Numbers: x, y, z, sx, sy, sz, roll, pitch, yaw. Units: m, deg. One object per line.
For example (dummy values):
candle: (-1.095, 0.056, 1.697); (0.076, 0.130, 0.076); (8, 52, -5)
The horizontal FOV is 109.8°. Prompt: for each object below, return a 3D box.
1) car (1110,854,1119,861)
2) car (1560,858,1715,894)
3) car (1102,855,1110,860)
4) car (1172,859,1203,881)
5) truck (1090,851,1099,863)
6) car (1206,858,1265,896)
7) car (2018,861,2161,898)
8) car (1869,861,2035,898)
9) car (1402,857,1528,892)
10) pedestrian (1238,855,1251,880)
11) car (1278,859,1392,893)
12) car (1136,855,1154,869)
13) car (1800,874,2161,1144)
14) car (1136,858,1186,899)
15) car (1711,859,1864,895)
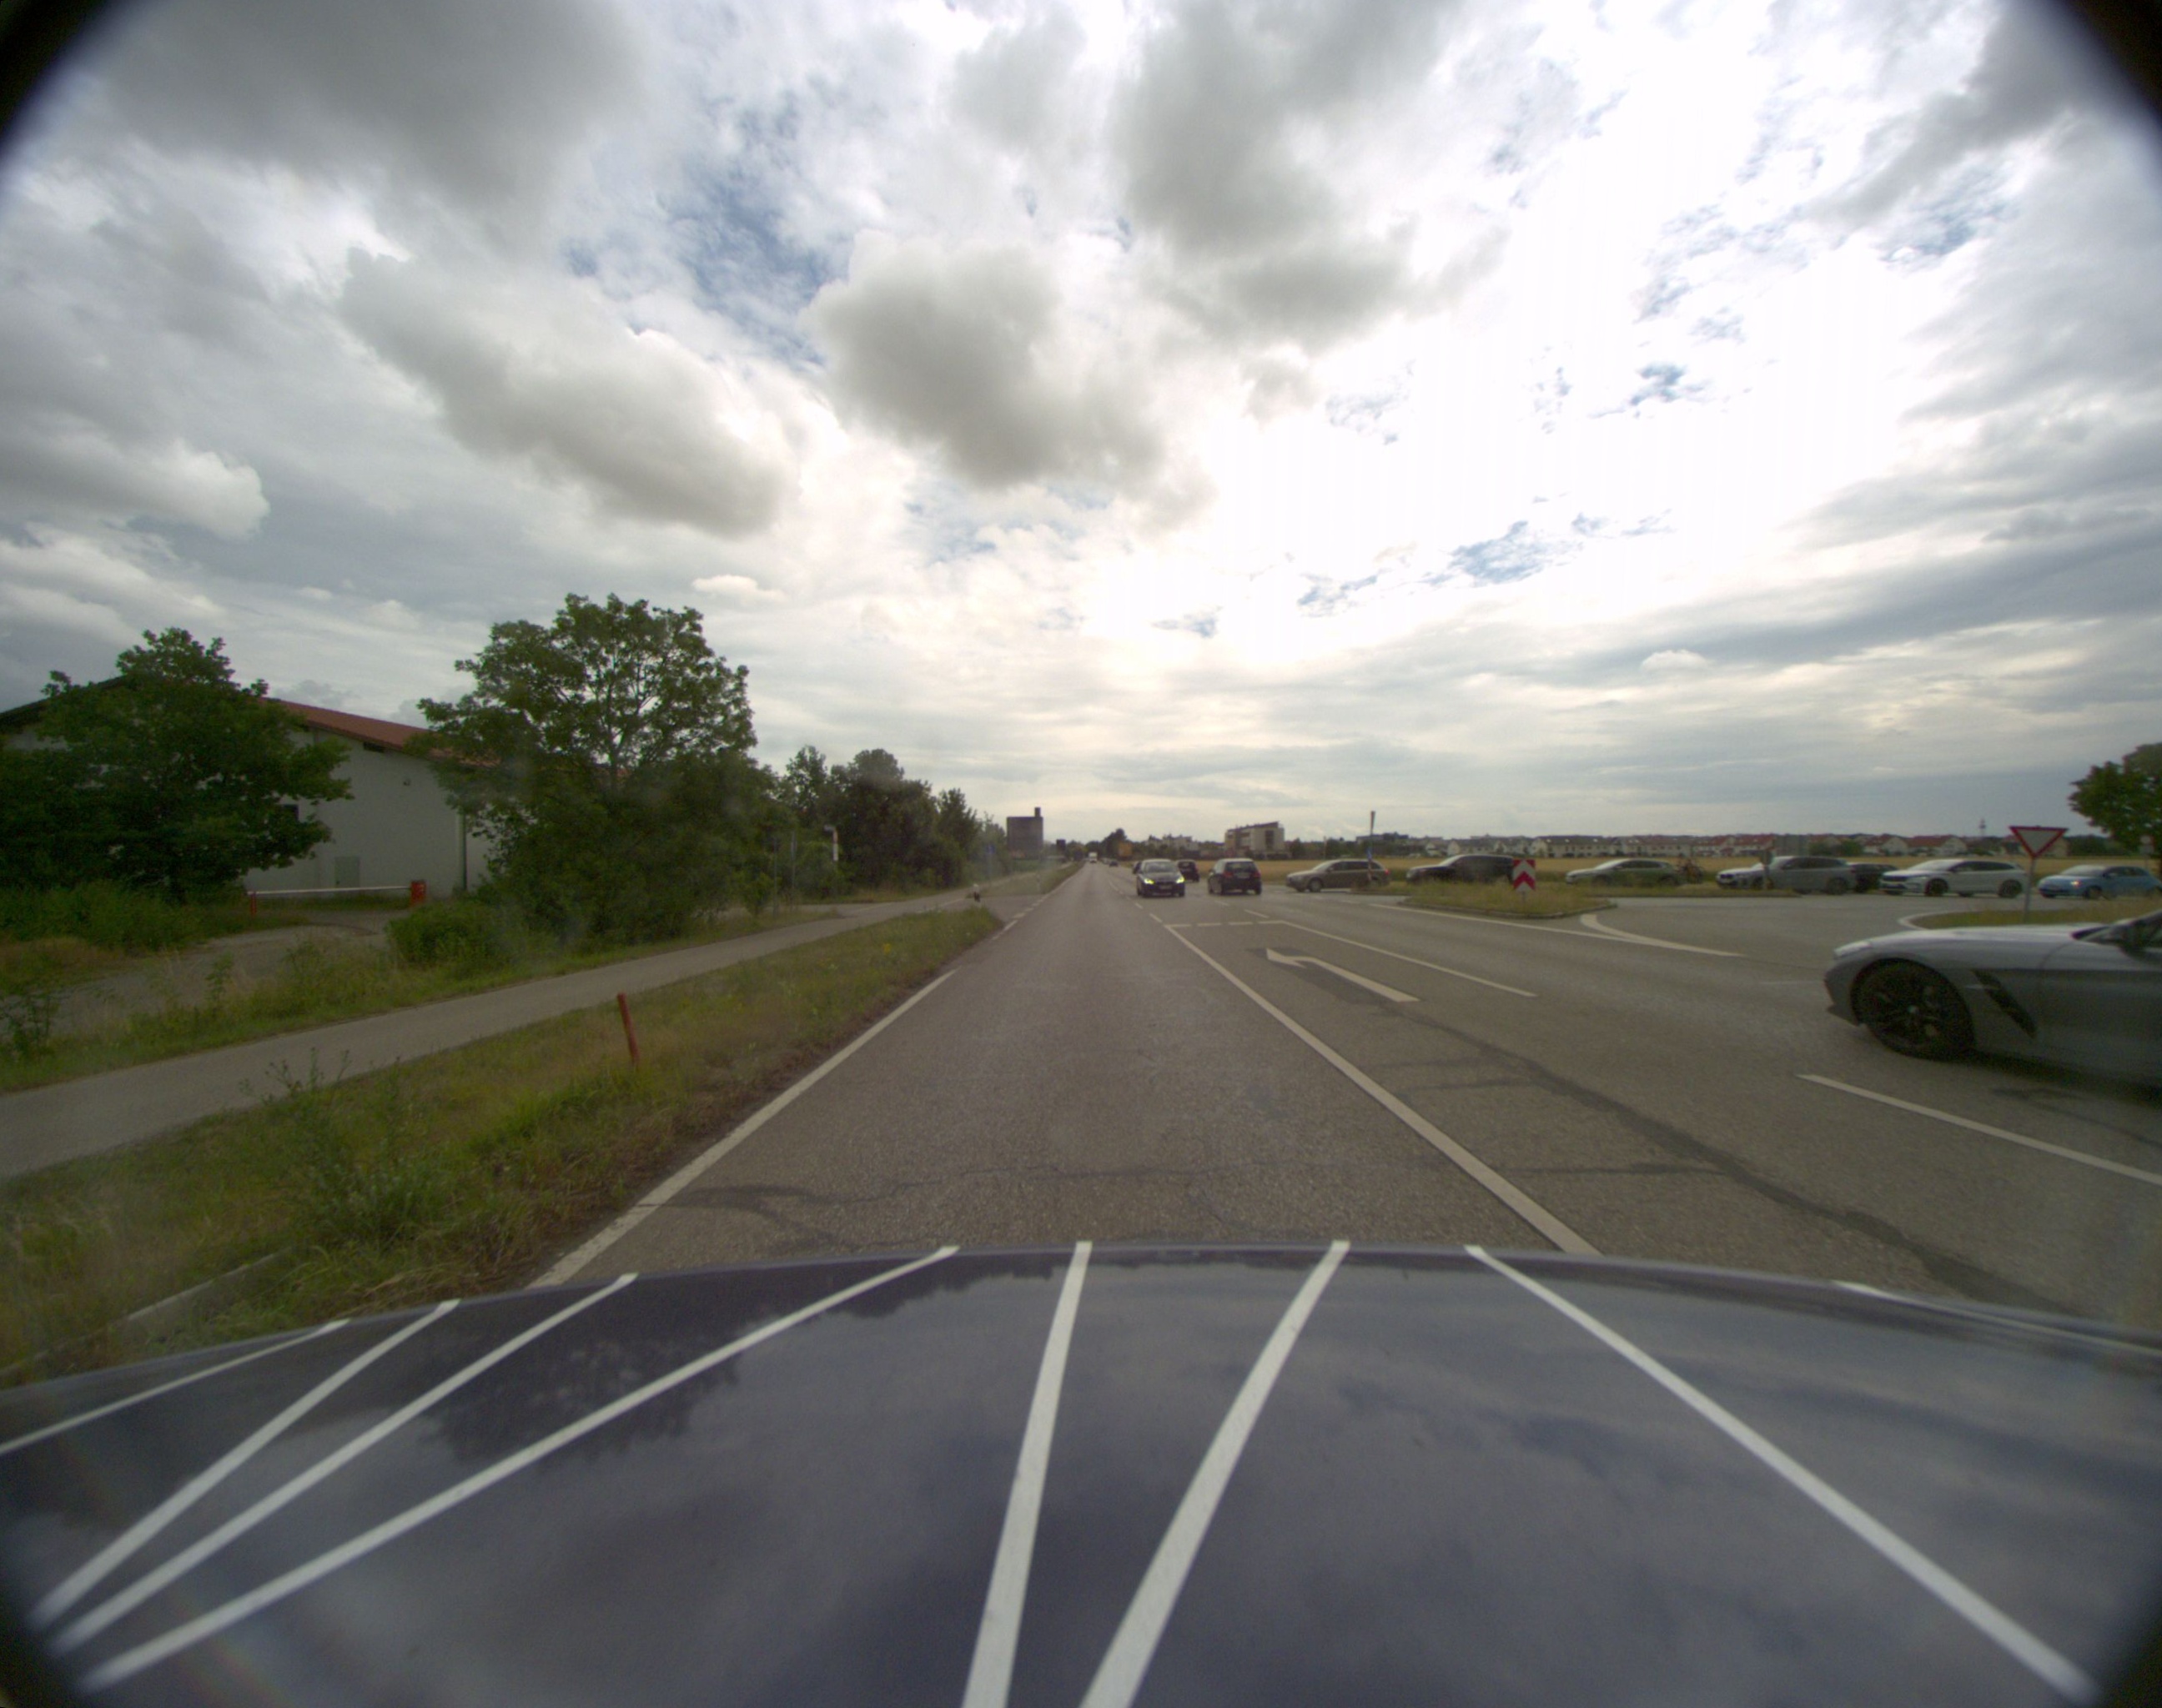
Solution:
car: (6.695, 0.747, 152.096); (1.740, 1.450, 4.131); (-1, 0, -1)
car: (24.522, 0.952, 33.658); (5.295, 1.512, 1.912); (0, 0, 7)
car: (6.689, 0.944, 203.711); (1.856, 1.480, 4.263); (0, 0, -3)
car: (7.352, 1.078, 52.471); (1.665, 1.475, 3.168); (-2, 0, 0)
truck: (4.268, 0.863, 240.318); (2.813, 3.588, 11.220); (0, 0, 1)
car: (6.812, 0.986, 33.829); (1.746, 1.521, 4.199); (-1, 0, 0)
car: (42.681, 1.038, 31.685); (4.500, 1.473, 1.912); (0, 0, 7)
car: (36.707, 1.067, 32.149); (4.500, 1.473, 1.912); (0, 0, 7)
car: (17.313, 0.914, 34.493); (4.749, 1.523, 1.912); (0, 0, 7)
pedestrian: (10.804, 0.874, 50.323); (0.594, 1.596, 0.866); (2, 0, -1)
car: (11.326, 0.974, 34.024); (4.464, 1.416, 1.910); (0, 0, -7)
car: (7.275, 0.927, 86.380); (1.683, 1.512, 4.396); (-2, 0, 1)
car: (6.663, 0.825, 3.764); (2.170, 1.277, 4.237); (-2, 0, 0)
car: (3.468, 1.029, 33.727); (1.706, 1.602, 4.482); (-2, 0, 0)
car: (30.603, 0.993, 33.037); (4.632, 1.508, 1.912); (0, 0, 7)
